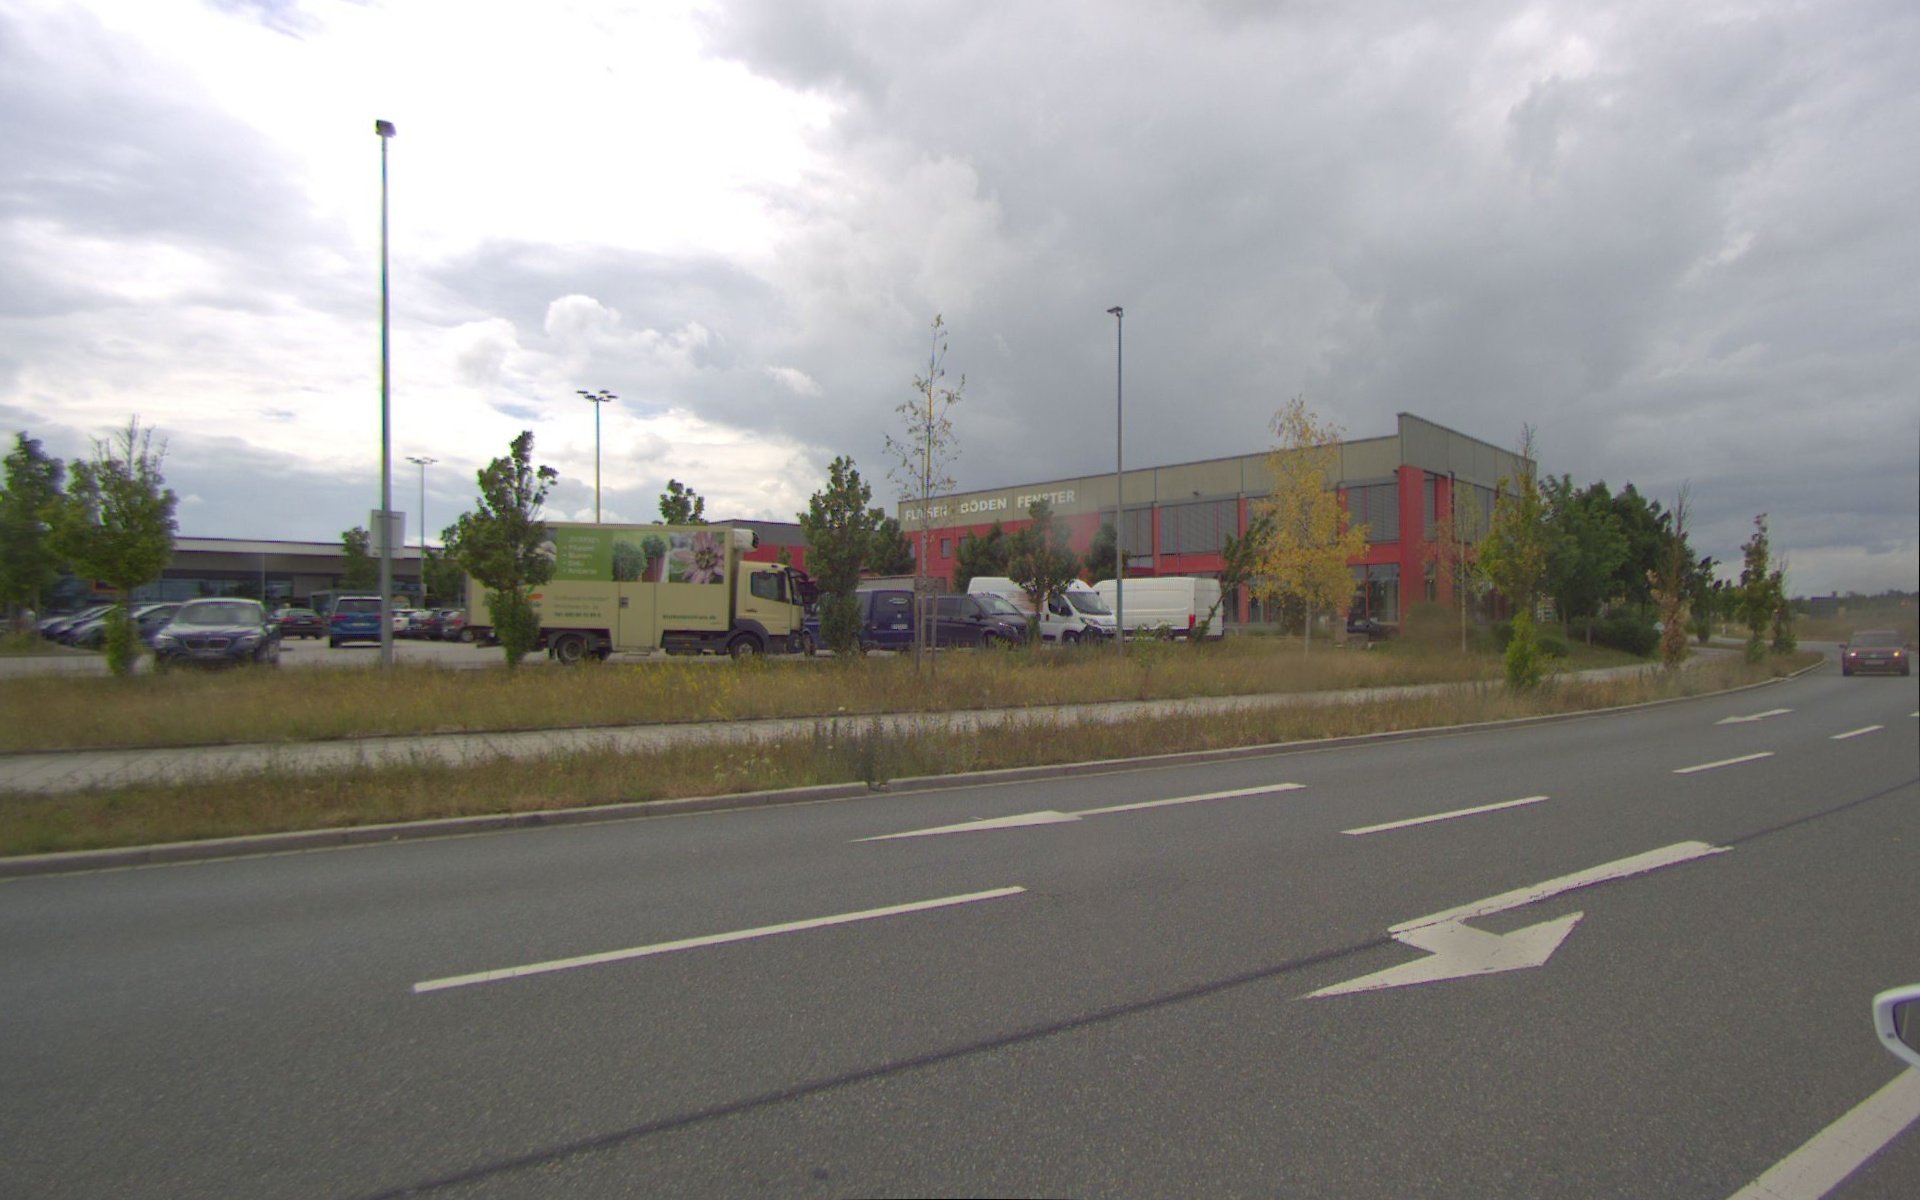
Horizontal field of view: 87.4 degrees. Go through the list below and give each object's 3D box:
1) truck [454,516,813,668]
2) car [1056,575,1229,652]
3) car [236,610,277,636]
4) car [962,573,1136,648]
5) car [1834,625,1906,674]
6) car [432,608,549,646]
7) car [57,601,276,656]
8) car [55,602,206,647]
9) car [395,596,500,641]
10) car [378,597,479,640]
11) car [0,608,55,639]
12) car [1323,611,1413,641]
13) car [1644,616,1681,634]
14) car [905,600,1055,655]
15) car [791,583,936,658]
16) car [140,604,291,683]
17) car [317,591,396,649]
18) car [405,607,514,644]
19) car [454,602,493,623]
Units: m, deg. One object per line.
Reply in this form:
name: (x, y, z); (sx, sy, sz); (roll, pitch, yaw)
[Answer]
truck: (-8.025, -0.142, 25.731); (8.270, 3.588, 2.856); (1, -1, -6)
car: (6.703, 0.503, 37.583); (2.227, 2.633, 6.349); (1, -1, -42)
car: (-44.743, 1.471, 63.851); (1.982, 1.628, 3.957); (1, -2, -37)
car: (2.926, 0.364, 34.328); (2.195, 2.337, 6.011); (1, -1, -43)
car: (33.778, 1.826, 37.369); (1.779, 1.691, 4.305); (-4, -4, 41)
car: (-20.266, 1.162, 43.463); (4.198, 1.539, 1.975); (1, -2, -43)
car: (-25.060, 0.883, 31.881); (1.972, 1.628, 5.242); (-1, -2, 43)
car: (-31.464, 0.927, 38.176); (4.354, 1.628, 1.975); (1, -2, -42)
car: (-24.198, 0.876, 47.507); (1.972, 2.040, 3.977); (0, -1, 43)
car: (-26.103, 0.911, 49.410); (1.972, 2.040, 3.977); (0, -1, 43)
car: (-51.220, 1.303, 55.121); (1.982, 1.628, 3.957); (1, -2, -37)
car: (22.087, 1.403, 54.534); (4.299, 1.572, 2.001); (0, -1, 15)
car: (58.055, 2.085, 83.013); (1.823, 1.425, 3.975); (-4, -4, 45)
car: (0.572, 0.877, 32.333); (4.852, 1.638, 1.982); (-1, -2, 45)
car: (-2.941, 0.607, 29.516); (2.157, 2.016, 4.870); (1, -2, -35)
car: (-15.132, 0.844, 20.657); (1.974, 1.454, 4.213); (0, -1, -29)
car: (-19.873, 0.663, 33.221); (1.953, 1.795, 3.972); (0, -1, -27)
car: (-22.472, 1.142, 45.161); (1.972, 1.561, 3.976); (-1, -2, 43)
car: (-37.984, 0.990, 78.403); (1.982, 1.628, 3.957); (1, -2, -37)
